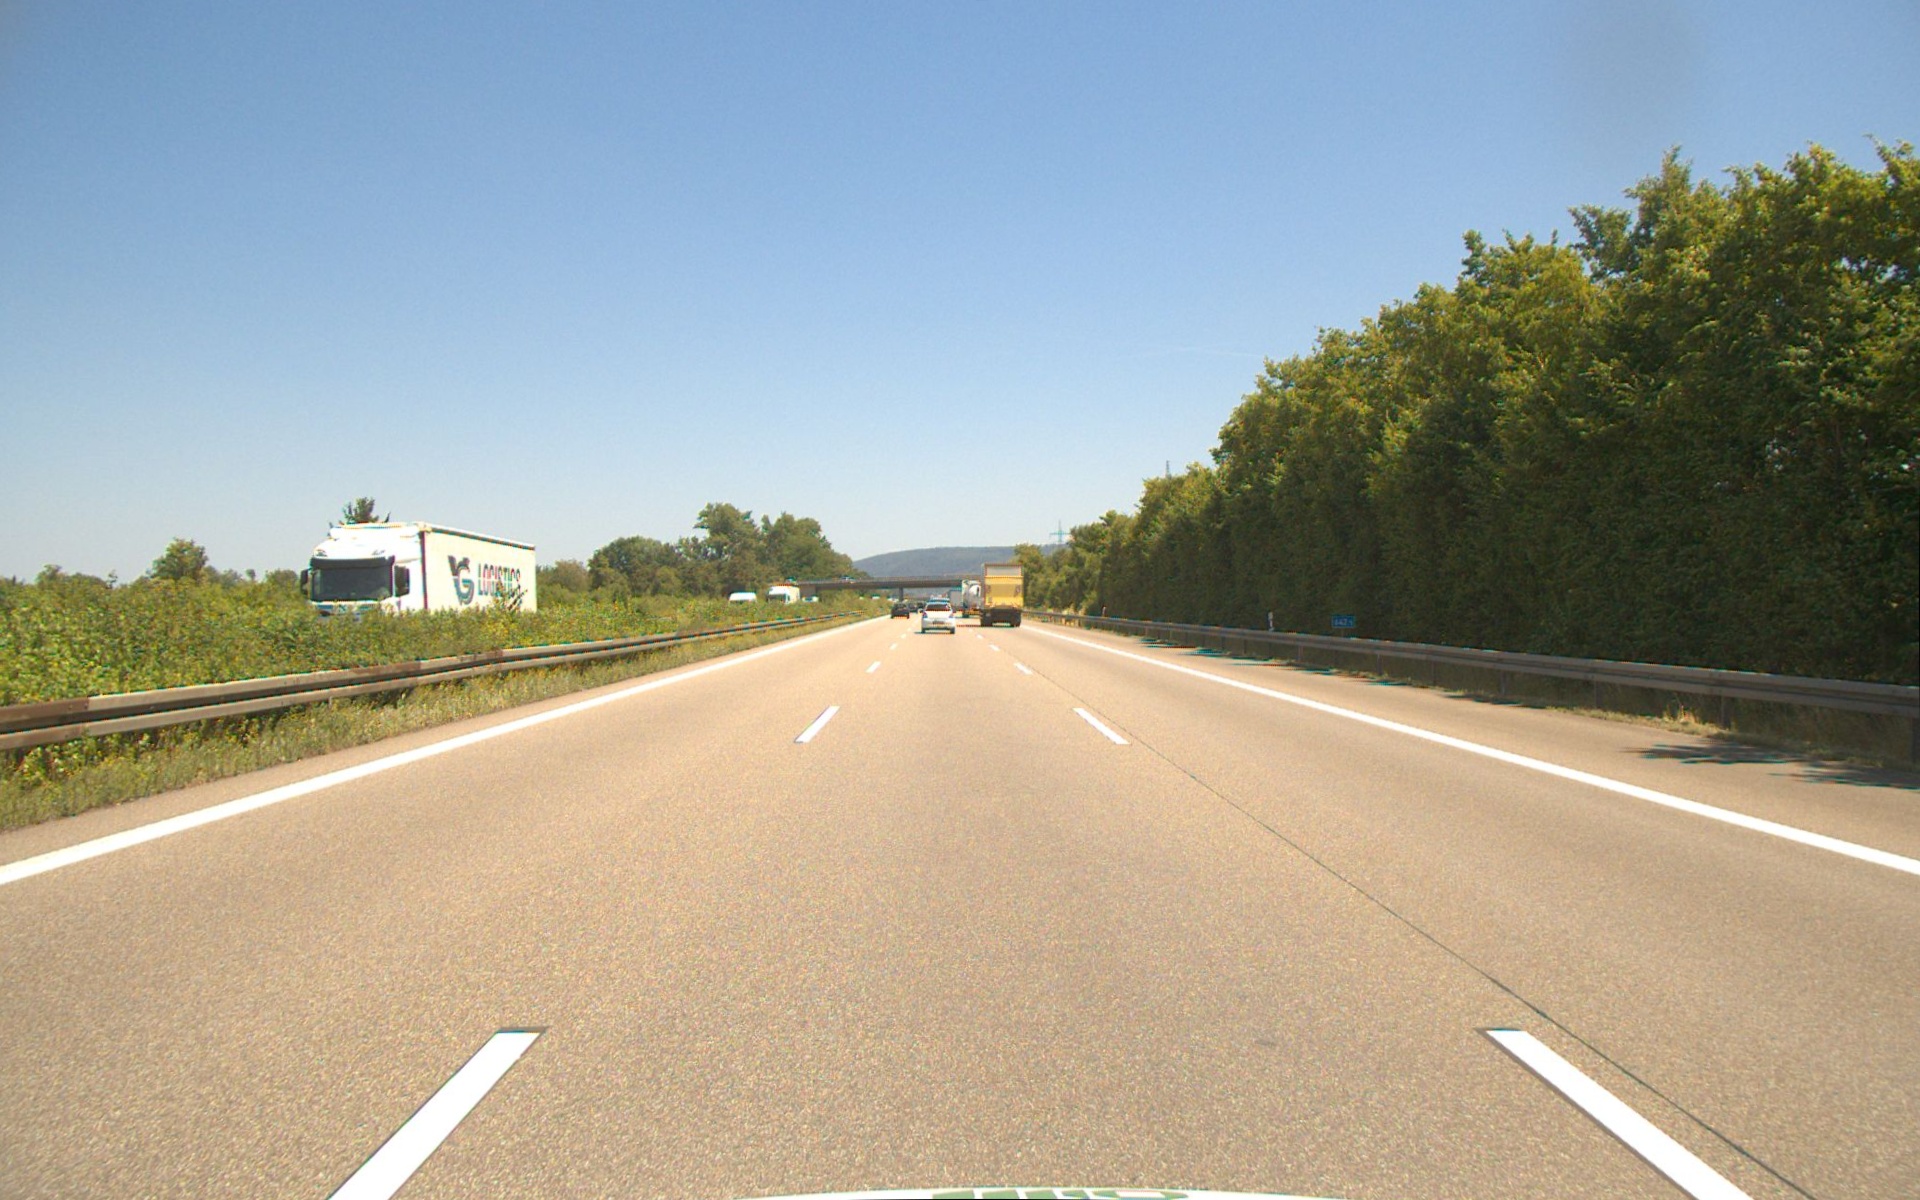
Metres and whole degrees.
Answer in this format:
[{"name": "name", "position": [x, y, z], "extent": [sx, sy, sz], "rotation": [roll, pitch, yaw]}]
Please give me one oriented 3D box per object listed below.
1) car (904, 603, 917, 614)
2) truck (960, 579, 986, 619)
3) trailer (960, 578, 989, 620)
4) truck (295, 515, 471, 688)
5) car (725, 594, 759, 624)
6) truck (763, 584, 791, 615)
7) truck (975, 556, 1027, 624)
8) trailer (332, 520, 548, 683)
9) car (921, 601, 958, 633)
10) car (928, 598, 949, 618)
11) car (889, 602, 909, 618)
[{"name": "car", "position": [-6.857, 1.166, 230.239], "extent": [1.798, 1.411, 3.999], "rotation": [1, 0, -1]}, {"name": "truck", "position": [1.354, -0.065, 176.082], "extent": [2.521, 4.143, 6.390], "rotation": [1, 0, -1]}, {"name": "trailer", "position": [1.460, -0.093, 170.983], "extent": [2.528, 4.146, 11.099], "rotation": [1, 0, -1]}, {"name": "truck", "position": [-16.533, 0.052, 47.900], "extent": [2.764, 4.606, 6.537], "rotation": [1, 0, -1]}, {"name": "car", "position": [-18.163, 0.758, 138.167], "extent": [2.038, 2.436, 6.730], "rotation": [1, 0, -2]}, {"name": "truck", "position": [-23.196, -0.051, 209.784], "extent": [2.874, 3.937, 5.750], "rotation": [1, 0, -1]}, {"name": "truck", "position": [2.658, -0.636, 110.473], "extent": [2.874, 4.273, 10.678], "rotation": [1, 0, -1]}, {"name": "trailer", "position": [-16.615, 0.076, 54.307], "extent": [2.764, 4.605, 13.863], "rotation": [1, 0, -1]}, {"name": "car", "position": [-1.025, 0.834, 82.031], "extent": [1.770, 1.494, 3.999], "rotation": [1, 0, -1]}, {"name": "car", "position": [-1.869, 0.702, 144.528], "extent": [1.814, 1.661, 3.999], "rotation": [1, 0, -1]}, {"name": "car", "position": [-5.798, 0.954, 156.701], "extent": [1.798, 1.411, 3.999], "rotation": [1, 0, -1]}]
